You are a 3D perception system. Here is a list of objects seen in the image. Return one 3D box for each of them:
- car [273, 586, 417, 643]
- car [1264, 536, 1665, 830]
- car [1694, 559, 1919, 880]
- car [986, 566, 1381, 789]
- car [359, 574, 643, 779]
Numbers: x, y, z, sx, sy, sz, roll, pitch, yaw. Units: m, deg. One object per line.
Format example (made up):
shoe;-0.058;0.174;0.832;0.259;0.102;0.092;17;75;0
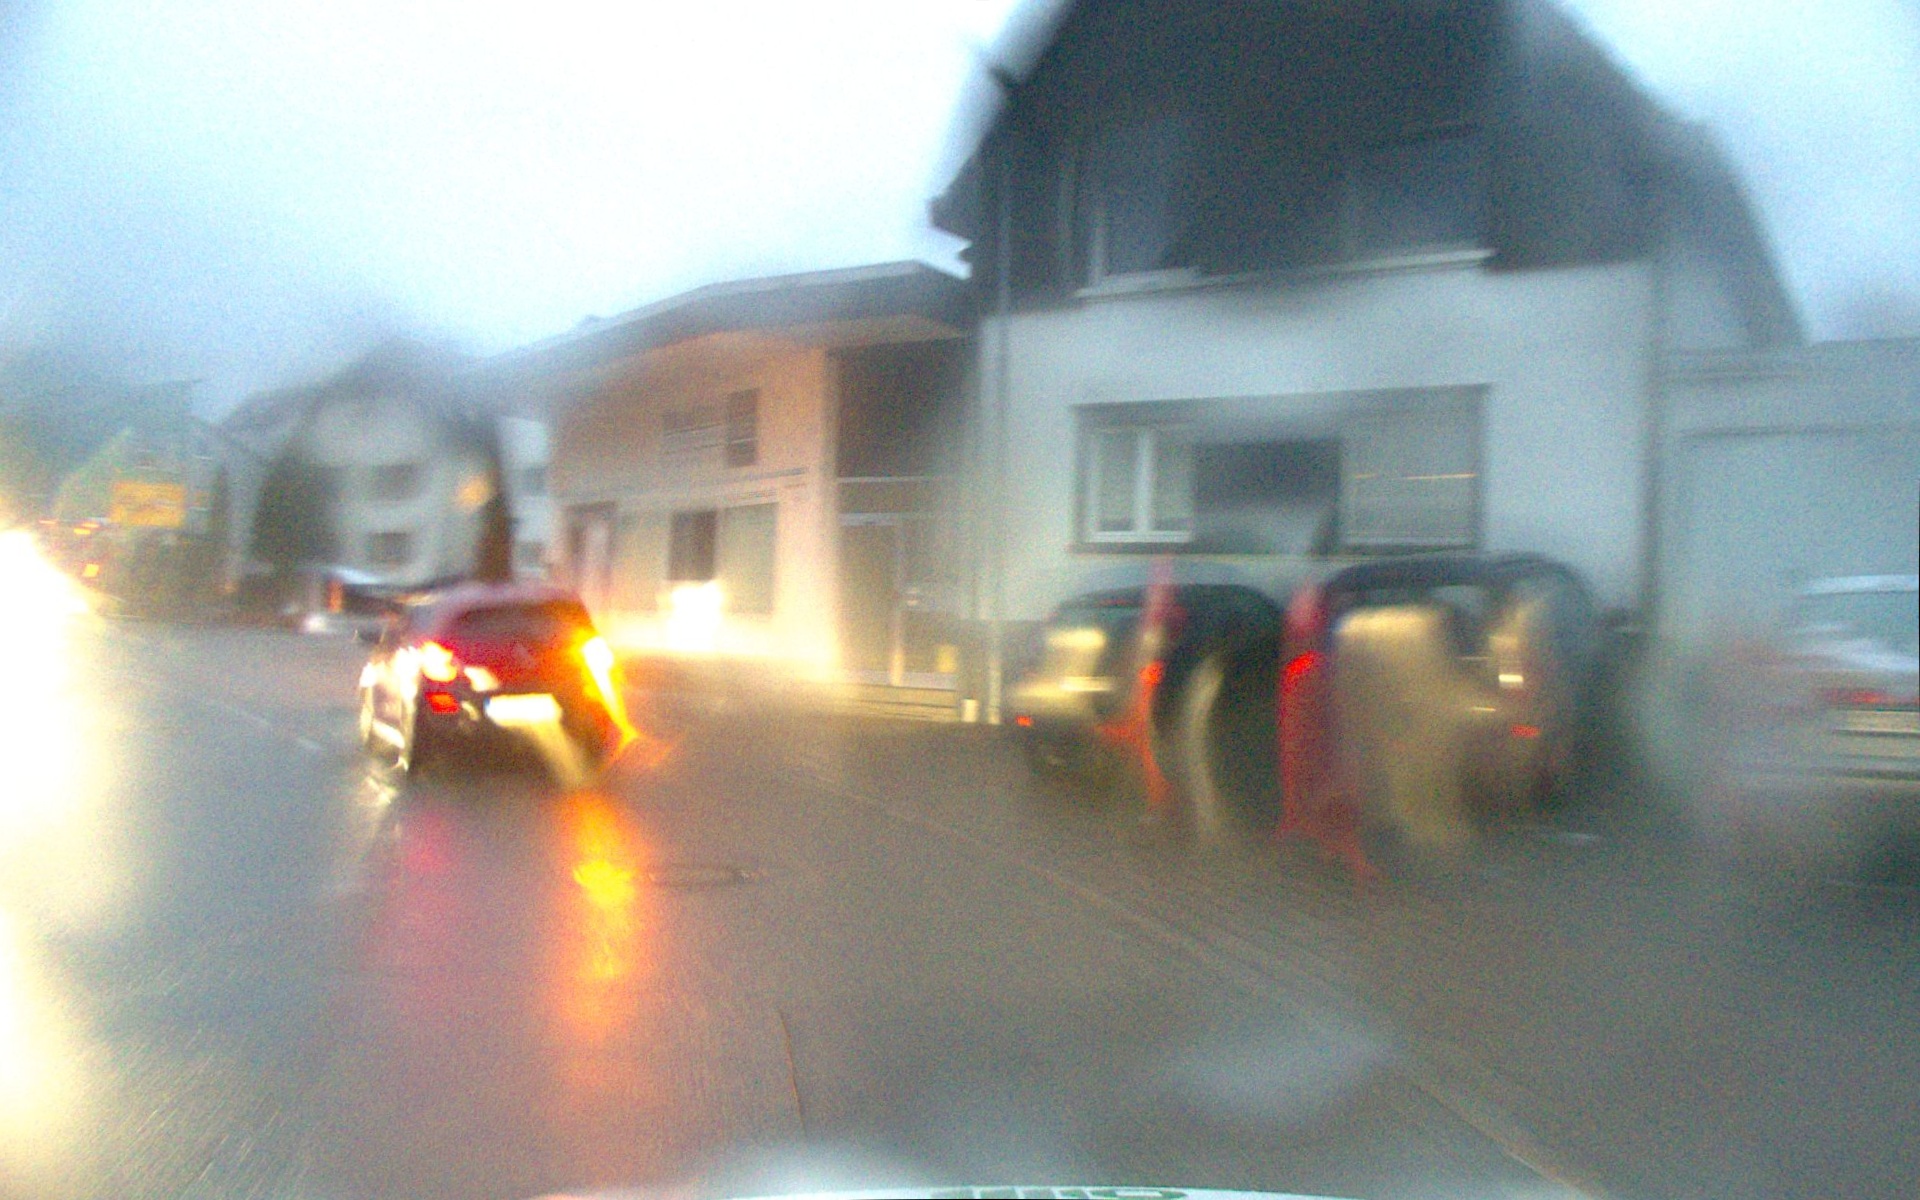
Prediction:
car;-20.099;0.438;54.043;4.447;1.657;1.814;2;1;25
car;3.923;0.441;12.265;1.815;1.689;4.468;-1;2;31
car;5.608;0.538;9.758;1.777;1.445;4.029;-1;2;32
car;2.027;0.537;13.979;1.848;1.475;3.885;-1;2;32
car;-4.048;0.572;14.210;1.529;1.491;3.664;3;0;-28
